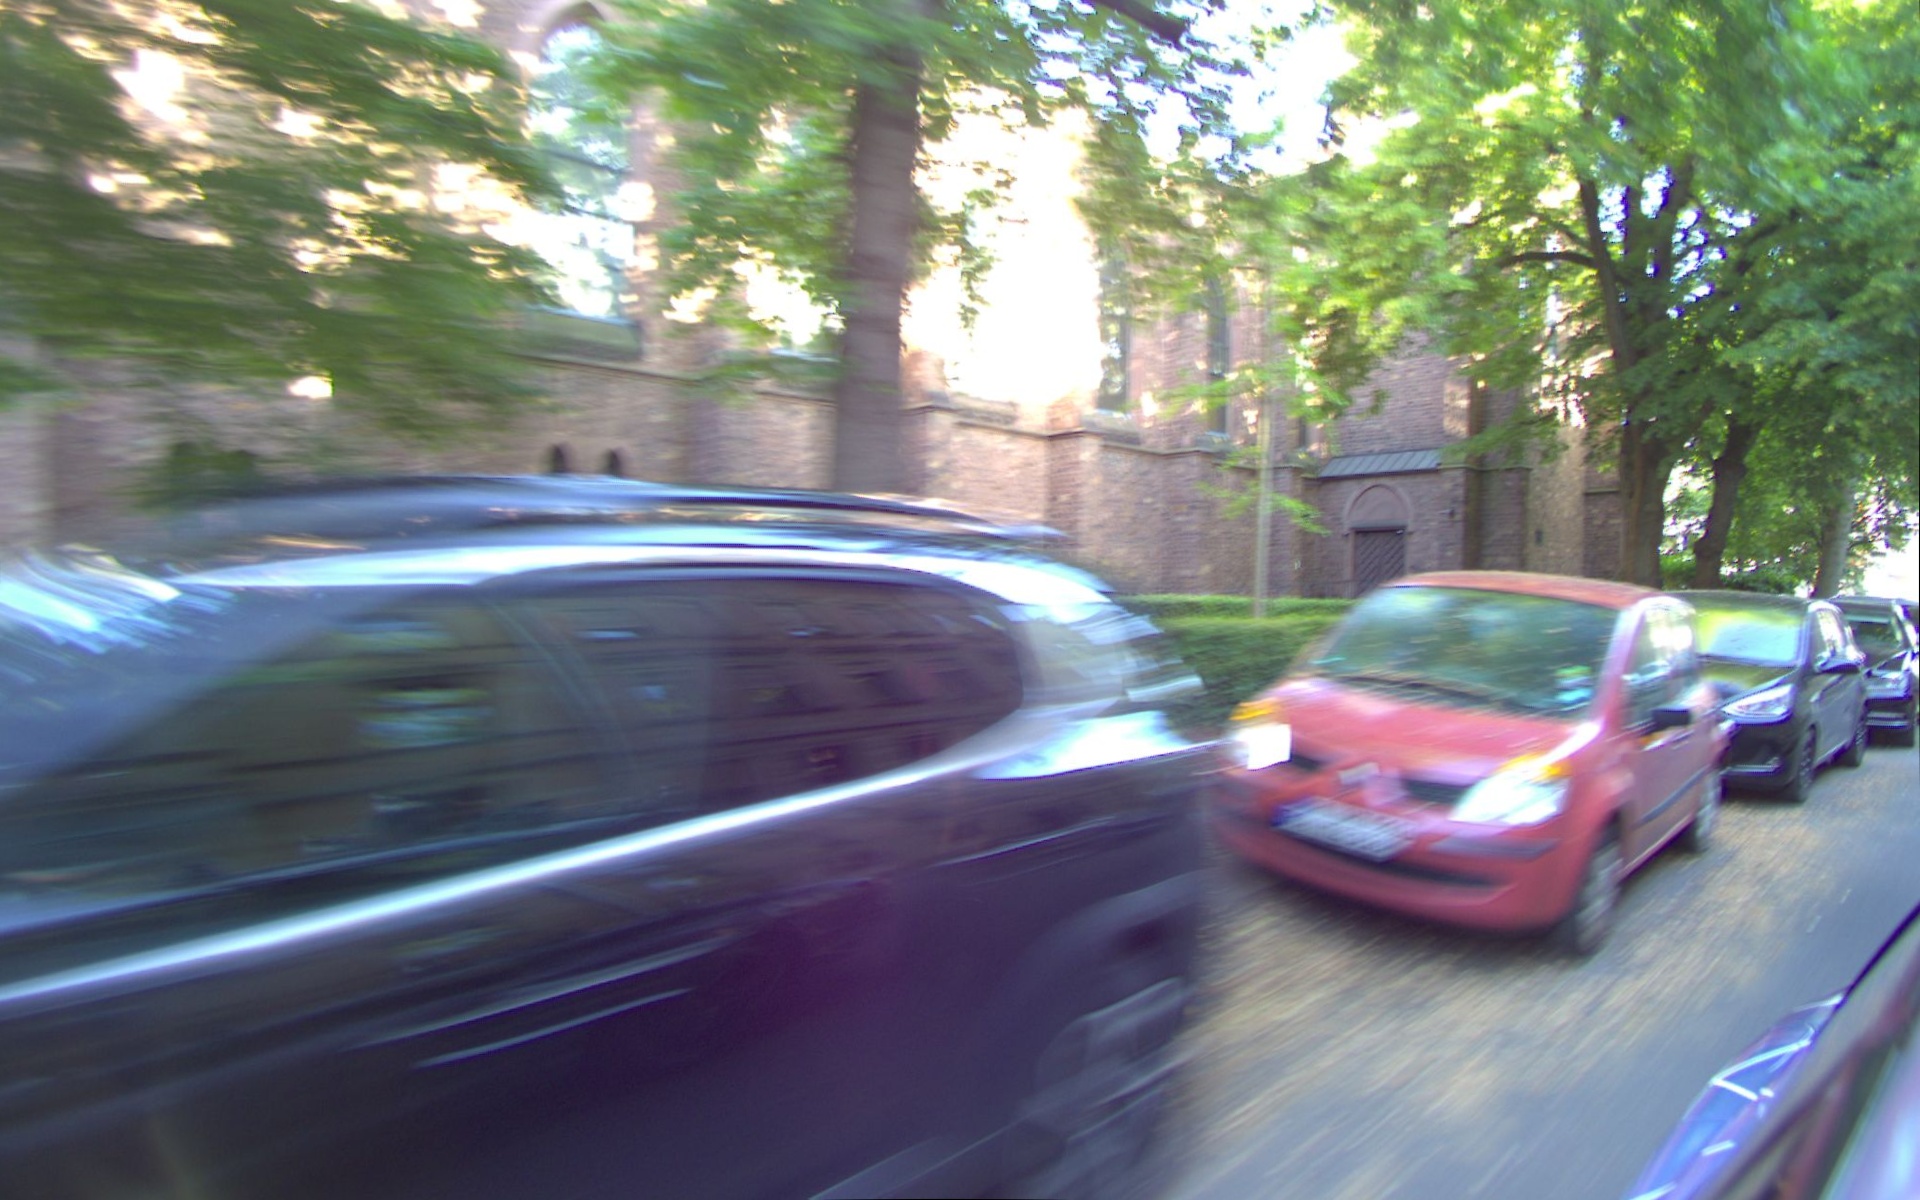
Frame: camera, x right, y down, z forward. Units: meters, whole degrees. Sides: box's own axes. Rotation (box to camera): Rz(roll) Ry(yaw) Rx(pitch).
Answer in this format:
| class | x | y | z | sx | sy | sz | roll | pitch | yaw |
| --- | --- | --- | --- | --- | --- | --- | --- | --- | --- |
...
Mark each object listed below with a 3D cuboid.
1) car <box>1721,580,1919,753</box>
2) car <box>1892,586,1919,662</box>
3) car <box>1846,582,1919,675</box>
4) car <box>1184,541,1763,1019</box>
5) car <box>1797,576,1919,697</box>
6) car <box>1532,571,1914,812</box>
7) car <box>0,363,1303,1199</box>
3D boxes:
| class | x | y | z | sx | sy | sz | roll | pitch | yaw |
| --- | --- | --- | --- | --- | --- | --- | --- | --- | --- |
| car | 10.275 | 0.596 | 11.663 | 4.620 | 1.458 | 1.678 | -2 | 7 | -45 |
| car | 21.069 | 0.503 | 21.309 | 3.801 | 1.488 | 1.603 | -1 | 4 | -40 |
| car | 17.515 | 0.489 | 18.337 | 3.501 | 1.485 | 1.604 | -1 | 6 | -40 |
| car | 3.016 | 0.580 | 5.549 | 3.801 | 1.643 | 1.621 | -2 | 7 | -45 |
| car | 13.983 | 0.471 | 15.156 | 3.566 | 1.522 | 1.603 | -1 | 6 | -42 |
| car | 6.559 | 0.575 | 8.582 | 3.708 | 1.503 | 1.624 | -1 | 6 | -39 |
| car | -1.249 | 0.507 | 1.782 | 4.196 | 1.621 | 1.742 | -2 | 7 | -45 |
